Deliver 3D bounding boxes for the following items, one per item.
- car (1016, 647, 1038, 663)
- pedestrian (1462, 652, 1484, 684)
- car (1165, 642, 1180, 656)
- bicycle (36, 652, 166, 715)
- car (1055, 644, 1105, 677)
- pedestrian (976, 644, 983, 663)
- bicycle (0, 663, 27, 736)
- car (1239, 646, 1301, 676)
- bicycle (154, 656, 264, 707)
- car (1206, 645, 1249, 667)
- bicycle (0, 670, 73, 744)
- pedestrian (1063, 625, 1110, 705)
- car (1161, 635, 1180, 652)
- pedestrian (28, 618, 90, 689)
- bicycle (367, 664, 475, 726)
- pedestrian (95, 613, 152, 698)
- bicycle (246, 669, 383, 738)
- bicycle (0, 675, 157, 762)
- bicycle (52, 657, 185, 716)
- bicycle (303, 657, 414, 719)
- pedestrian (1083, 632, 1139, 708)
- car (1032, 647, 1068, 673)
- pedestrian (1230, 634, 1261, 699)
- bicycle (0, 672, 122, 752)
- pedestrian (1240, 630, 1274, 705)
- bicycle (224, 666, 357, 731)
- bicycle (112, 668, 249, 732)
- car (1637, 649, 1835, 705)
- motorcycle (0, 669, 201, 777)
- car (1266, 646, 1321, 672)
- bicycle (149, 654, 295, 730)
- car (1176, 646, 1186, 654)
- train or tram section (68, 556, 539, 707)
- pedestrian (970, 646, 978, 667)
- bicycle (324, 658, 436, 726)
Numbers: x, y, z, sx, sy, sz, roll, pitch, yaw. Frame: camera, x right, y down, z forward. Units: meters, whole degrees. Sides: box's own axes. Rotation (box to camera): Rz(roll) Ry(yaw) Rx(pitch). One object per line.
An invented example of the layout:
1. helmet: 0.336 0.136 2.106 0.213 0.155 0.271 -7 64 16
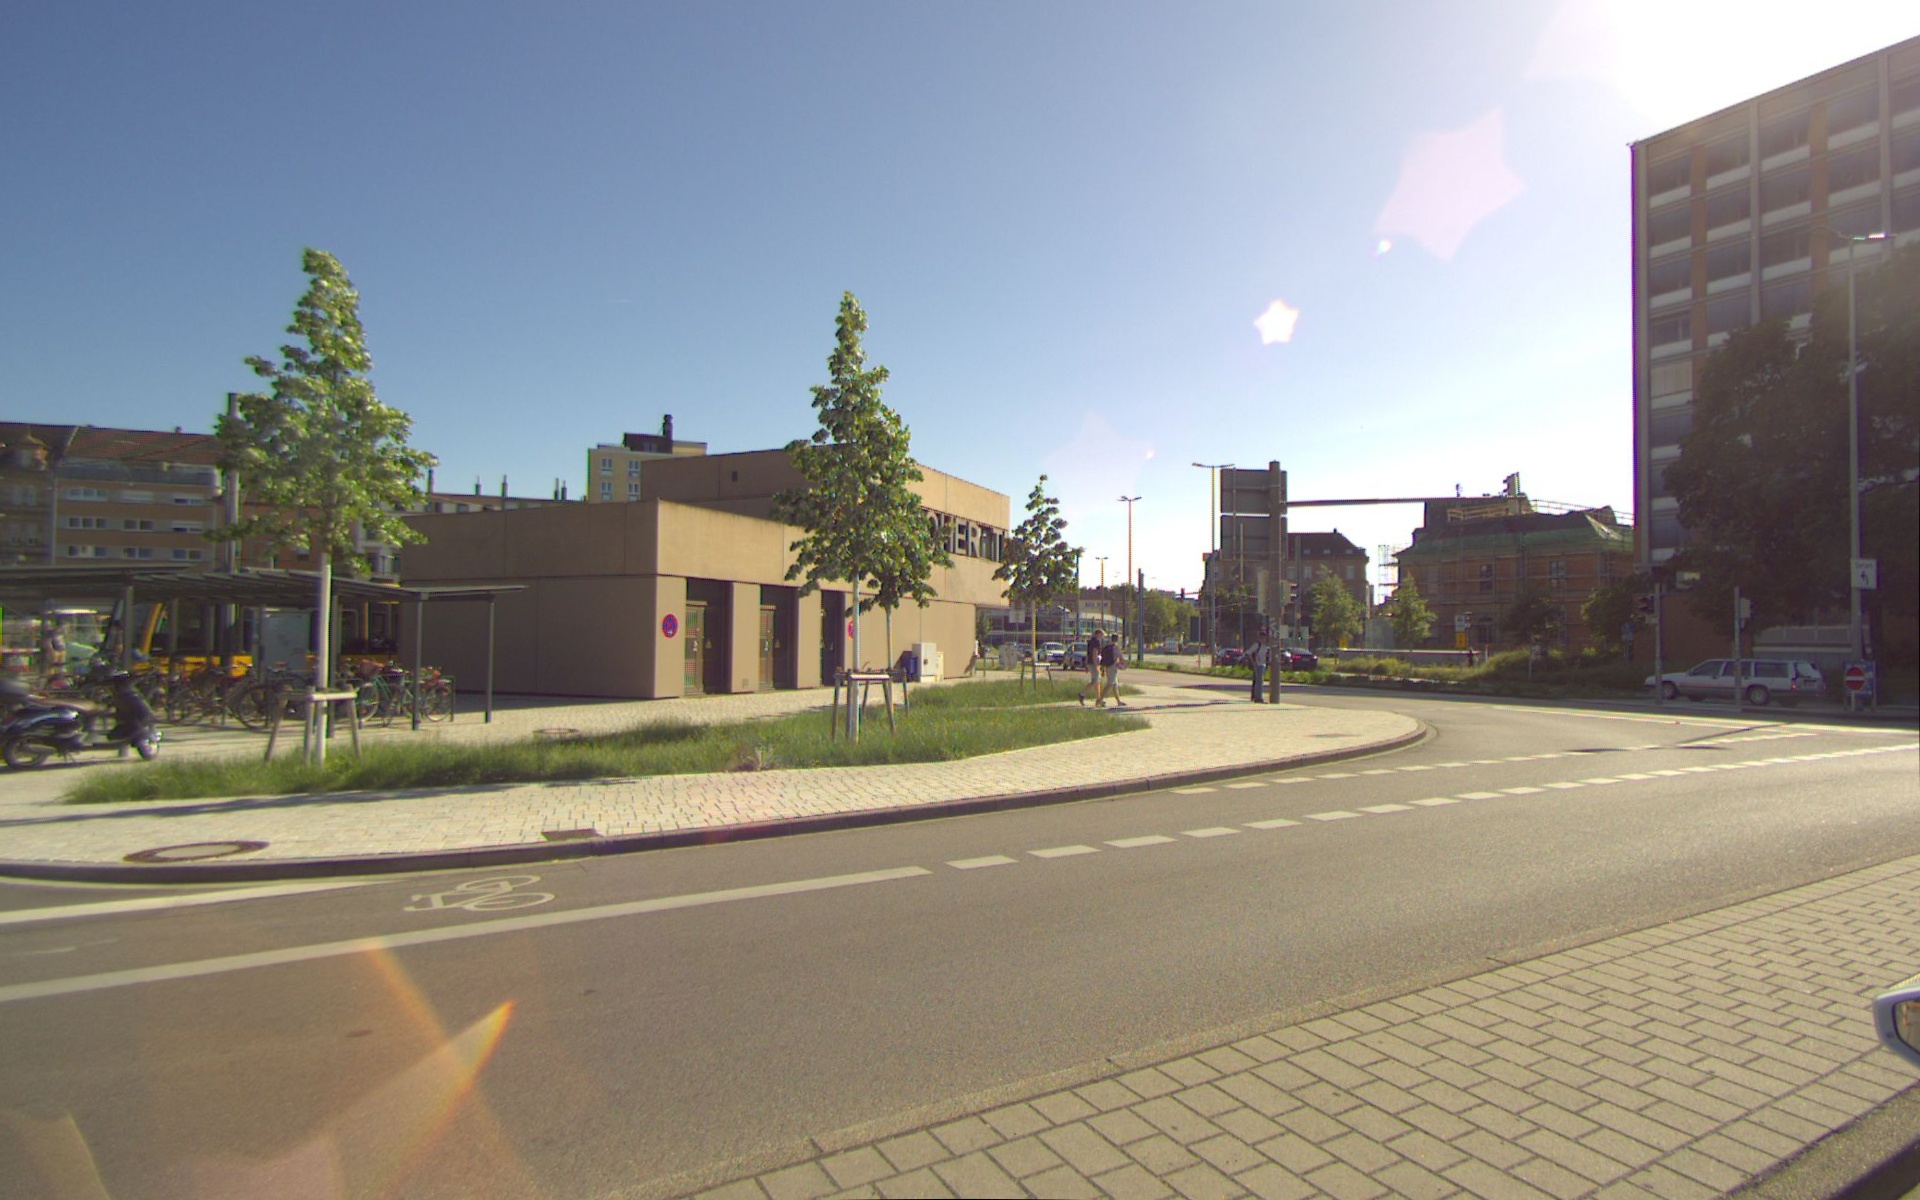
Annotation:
1. car: 6.933 5.687 103.813 1.959 1.603 4.003 0 -2 9
2. pedestrian: 33.392 4.407 65.385 0.995 2.040 0.826 0 -2 -1
3. car: 31.557 7.210 149.207 2.030 2.040 5.019 0 -2 12
4. bicycle: -16.915 1.616 19.832 0.617 1.146 1.828 0 -2 27
5. car: 6.985 3.515 58.736 1.963 1.814 3.995 1 -2 -8
6. pedestrian: 2.034 5.628 105.713 0.708 2.040 0.717 0 -2 3
7. bicycle: -15.276 1.521 15.015 0.617 1.094 1.829 0 -2 25
8. car: 18.100 3.540 58.776 1.803 1.591 3.993 1 -2 -11
9. bicycle: -16.261 1.739 21.807 0.617 1.021 1.829 0 -2 25
10. car: 20.055 4.217 75.504 1.962 1.538 3.818 1 -2 -4
11. bicycle: -14.108 1.554 14.516 0.617 1.021 1.829 0 -2 25
12. pedestrian: 3.035 1.552 24.151 0.853 1.869 0.838 1 -2 -20
13. car: 34.328 7.043 163.777 2.952 2.580 6.963 0 -2 12
14. pedestrian: -26.266 1.546 29.292 0.854 2.040 1.012 0 -2 19
15. bicycle: -9.826 1.715 18.387 0.616 1.021 1.832 0 -2 16
16. pedestrian: -19.095 1.259 22.943 0.738 1.880 0.709 1 -2 -19
17. bicycle: -10.676 1.684 16.686 0.617 1.021 1.828 0 -2 27
18. bicycle: -12.042 1.563 13.524 0.617 1.021 1.829 0 -2 25
19. bicycle: -16.026 1.625 19.178 0.617 1.021 1.828 0 -2 27
20. bicycle: -11.749 1.693 19.692 0.617 1.107 1.829 0 -2 25
21. pedestrian: 3.555 1.624 23.638 1.014 1.727 0.831 2 -2 -35
22. car: 6.633 4.422 74.131 1.868 1.728 3.996 2 -1 -6
23. pedestrian: 7.658 1.786 26.975 0.594 1.719 0.634 1 -2 -7
24. bicycle: -13.125 1.562 14.075 0.617 1.021 2.026 0 -2 25
25. pedestrian: 7.571 1.704 25.620 0.594 1.880 0.681 1 -2 -7
26. bicycle: -11.619 1.685 17.503 0.492 1.010 1.887 0 -2 31
27. bicycle: -13.868 1.747 17.941 0.617 1.021 1.828 0 -2 27
28. car: 25.210 2.452 32.864 1.910 1.614 4.854 1 -2 -22
29. motorcycle: -10.924 1.483 12.478 0.599 1.173 2.360 0 -2 25
30. car: 20.808 3.664 62.734 1.962 1.538 3.818 1 -2 -4
31. bicycle: -12.892 1.571 17.633 0.496 1.225 2.051 0 -2 26
32. car: 46.977 10.623 213.670 2.024 1.458 4.061 0 -2 14
33. train or tram section: -18.741 0.981 30.482 2.702 3.648 12.318 0 -2 25
34. pedestrian: 1.398 5.541 98.381 0.708 2.040 0.717 0 -2 5
35. bicycle: -10.746 1.681 18.686 0.616 1.161 1.831 0 -2 18
